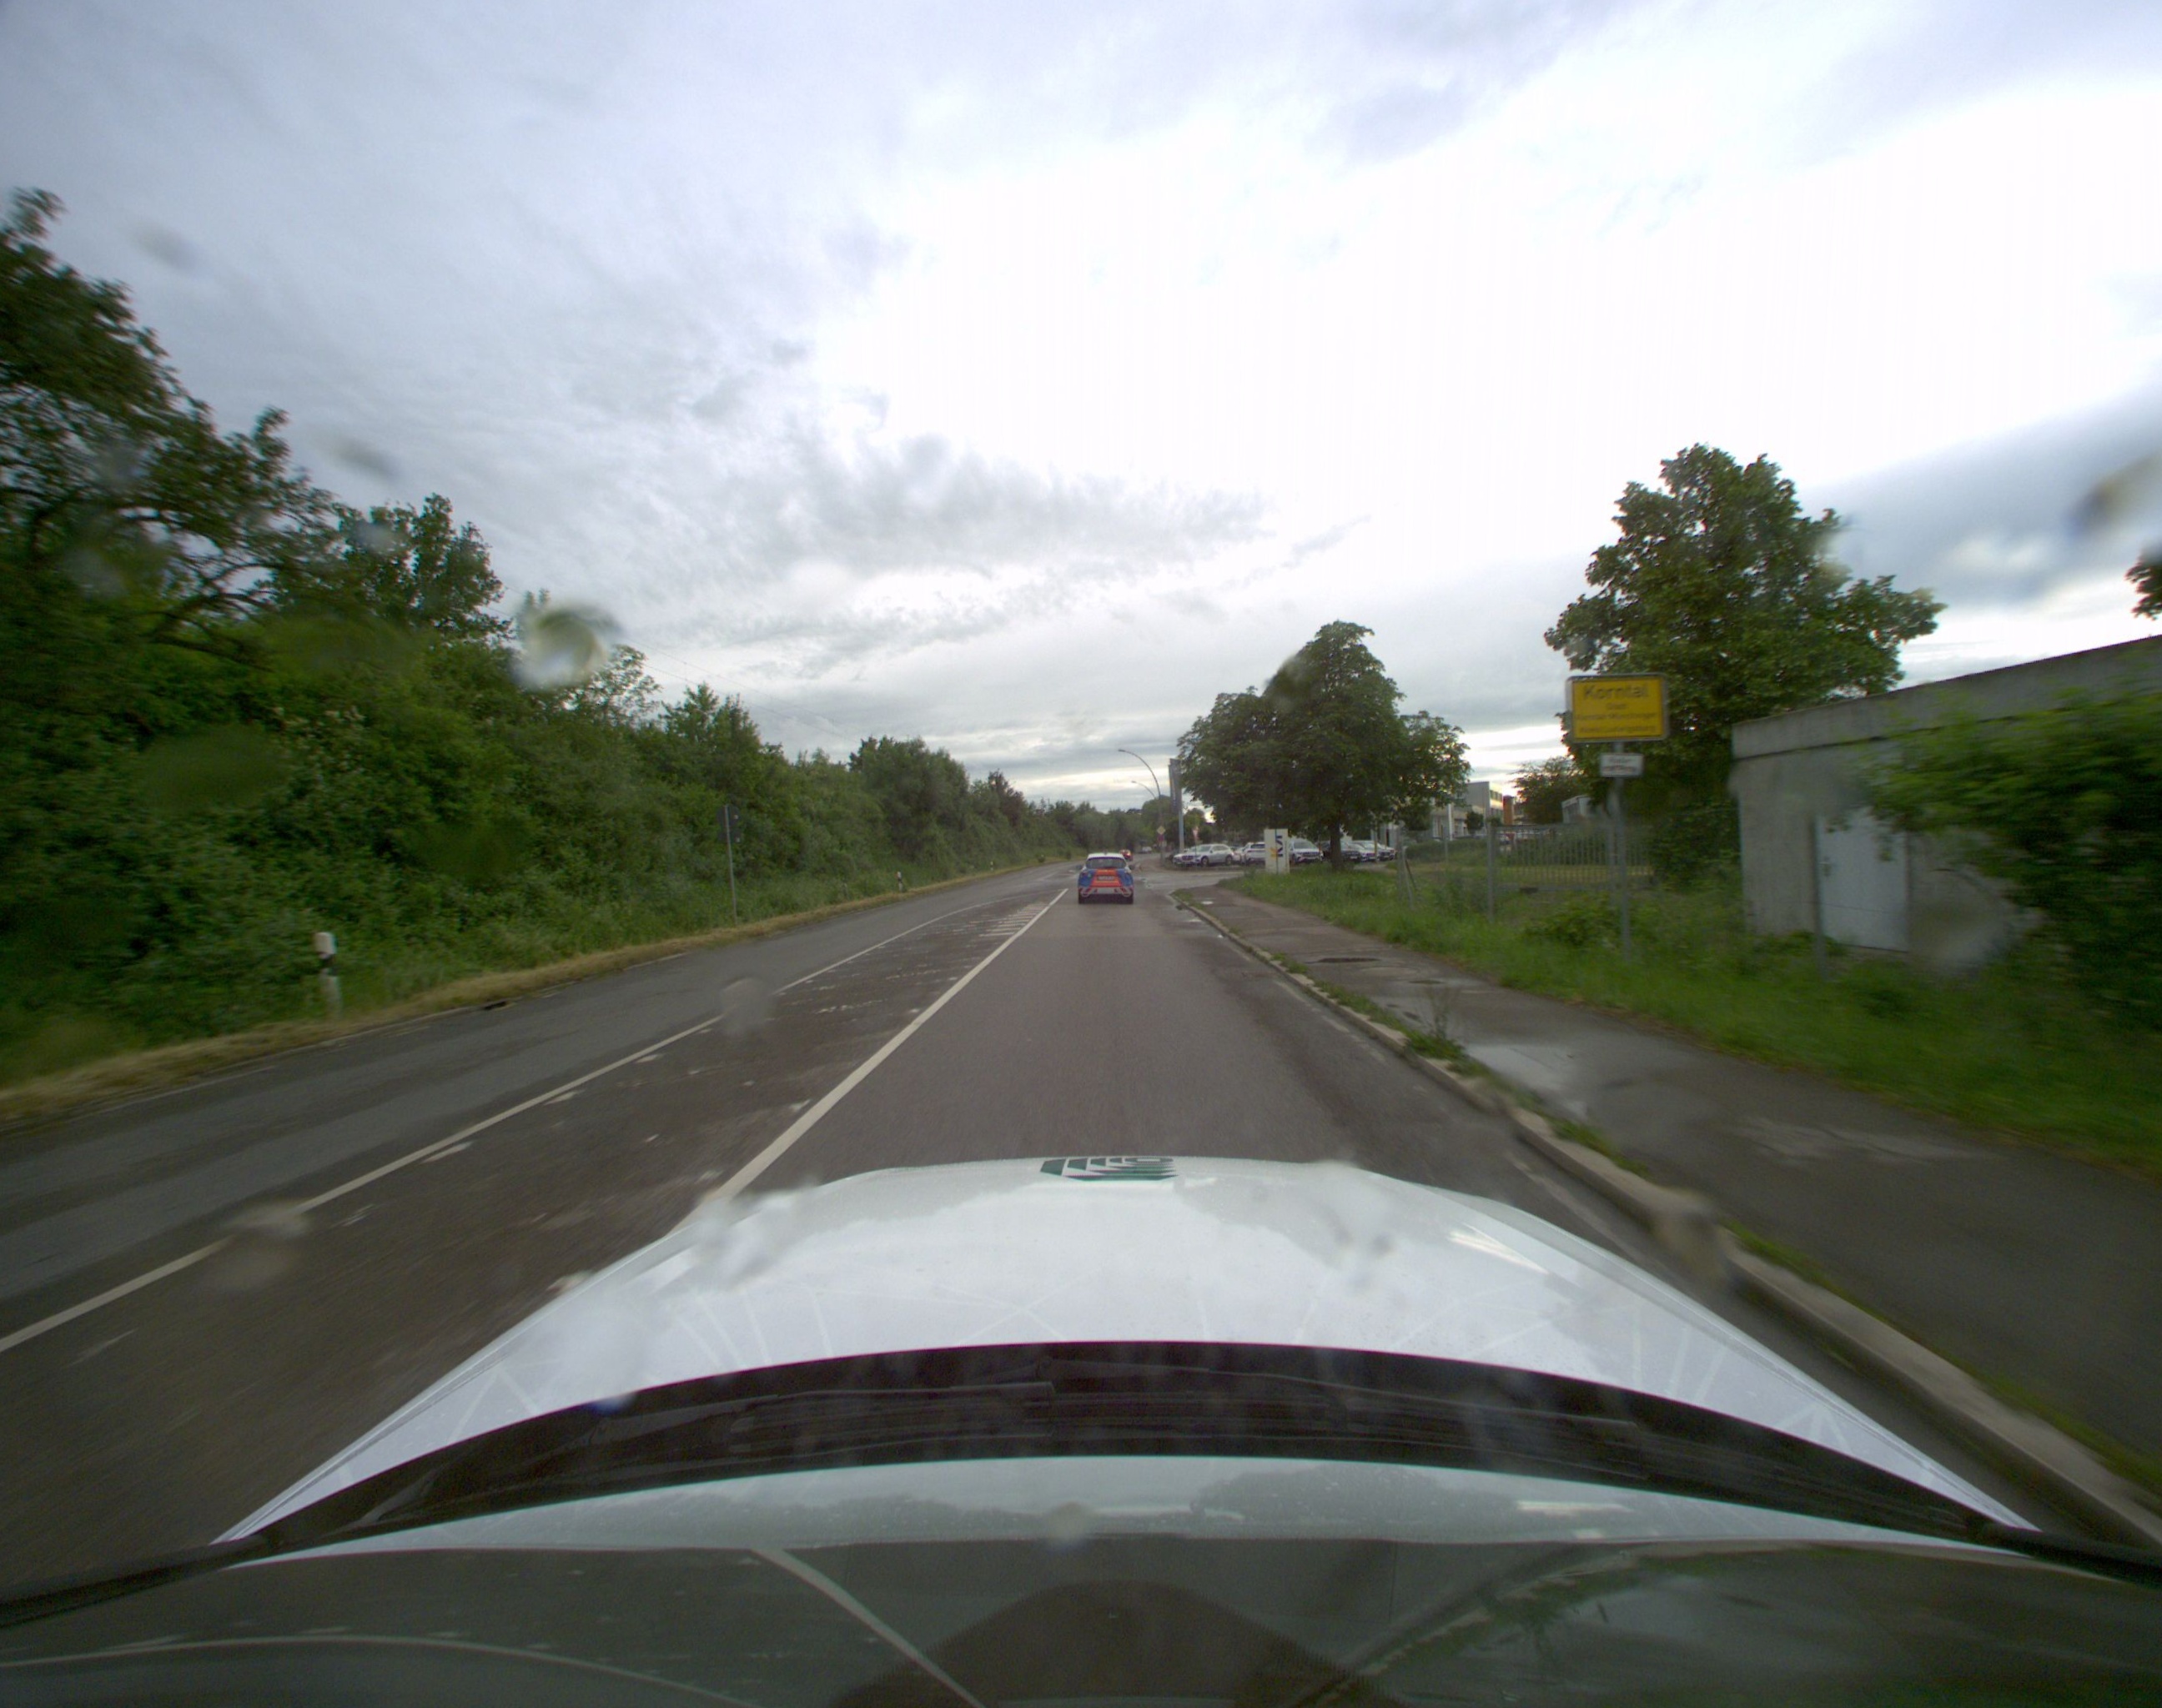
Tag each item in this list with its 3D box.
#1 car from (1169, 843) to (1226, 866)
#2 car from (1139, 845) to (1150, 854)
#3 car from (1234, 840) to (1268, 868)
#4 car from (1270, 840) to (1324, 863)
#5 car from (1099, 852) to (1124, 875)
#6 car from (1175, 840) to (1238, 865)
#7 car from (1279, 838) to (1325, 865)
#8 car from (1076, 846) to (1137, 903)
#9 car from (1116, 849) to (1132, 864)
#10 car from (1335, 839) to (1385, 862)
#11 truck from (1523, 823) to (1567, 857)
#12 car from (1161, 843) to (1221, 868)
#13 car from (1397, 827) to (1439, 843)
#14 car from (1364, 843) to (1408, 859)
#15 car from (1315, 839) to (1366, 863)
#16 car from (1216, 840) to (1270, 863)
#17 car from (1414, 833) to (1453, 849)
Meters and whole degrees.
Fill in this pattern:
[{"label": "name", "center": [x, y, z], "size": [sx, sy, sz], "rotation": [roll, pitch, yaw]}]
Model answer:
[{"label": "car", "center": [9.566, 0.052, 66.656], "size": [4.638, 1.751, 1.787], "rotation": [0, -2, -35]}, {"label": "car", "center": [13.511, -0.900, 172.729], "size": [1.681, 1.790, 3.871], "rotation": [0, -1, 14]}, {"label": "car", "center": [11.607, 0.034, 55.820], "size": [1.818, 1.829, 4.269], "rotation": [0, -1, 4]}, {"label": "car", "center": [16.795, -0.222, 63.262], "size": [4.644, 1.751, 1.908], "rotation": [-1, 0, -43]}, {"label": "car", "center": [2.183, 0.665, 57.320], "size": [1.687, 1.595, 3.858], "rotation": [0, -1, 2]}, {"label": "car", "center": [9.113, -0.107, 58.899], "size": [4.644, 1.751, 2.011], "rotation": [1, -1, -43]}, {"label": "car", "center": [15.073, -0.129, 55.762], "size": [1.930, 1.751, 4.617], "rotation": [0, -1, 0]}, {"label": "car", "center": [0.827, 0.626, 26.224], "size": [1.799, 1.668, 3.857], "rotation": [0, -1, 2]}, {"label": "car", "center": [5.559, 0.333, 105.747], "size": [1.684, 1.790, 3.865], "rotation": [-1, -1, 9]}, {"label": "car", "center": [20.639, -0.215, 60.378], "size": [1.648, 1.602, 4.607], "rotation": [0, -1, -7]}, {"label": "truck", "center": [43.833, -1.236, 76.824], "size": [2.456, 2.995, 6.965], "rotation": [0, -1, 39]}, {"label": "car", "center": [8.434, 0.142, 62.271], "size": [4.644, 1.751, 2.010], "rotation": [1, -3, -43]}, {"label": "car", "center": [32.231, -1.799, 77.938], "size": [3.620, 1.496, 1.665], "rotation": [0, -1, 28]}, {"label": "car", "center": [28.422, -0.272, 75.820], "size": [3.619, 1.376, 1.665], "rotation": [0, -1, 30]}, {"label": "car", "center": [18.316, -0.192, 57.737], "size": [1.648, 1.602, 4.607], "rotation": [0, -1, -7]}, {"label": "car", "center": [12.689, -0.226, 63.522], "size": [1.907, 1.751, 4.646], "rotation": [-1, 1, 44]}, {"label": "car", "center": [36.280, -1.321, 83.815], "size": [3.620, 1.496, 1.665], "rotation": [0, -1, 28]}]
